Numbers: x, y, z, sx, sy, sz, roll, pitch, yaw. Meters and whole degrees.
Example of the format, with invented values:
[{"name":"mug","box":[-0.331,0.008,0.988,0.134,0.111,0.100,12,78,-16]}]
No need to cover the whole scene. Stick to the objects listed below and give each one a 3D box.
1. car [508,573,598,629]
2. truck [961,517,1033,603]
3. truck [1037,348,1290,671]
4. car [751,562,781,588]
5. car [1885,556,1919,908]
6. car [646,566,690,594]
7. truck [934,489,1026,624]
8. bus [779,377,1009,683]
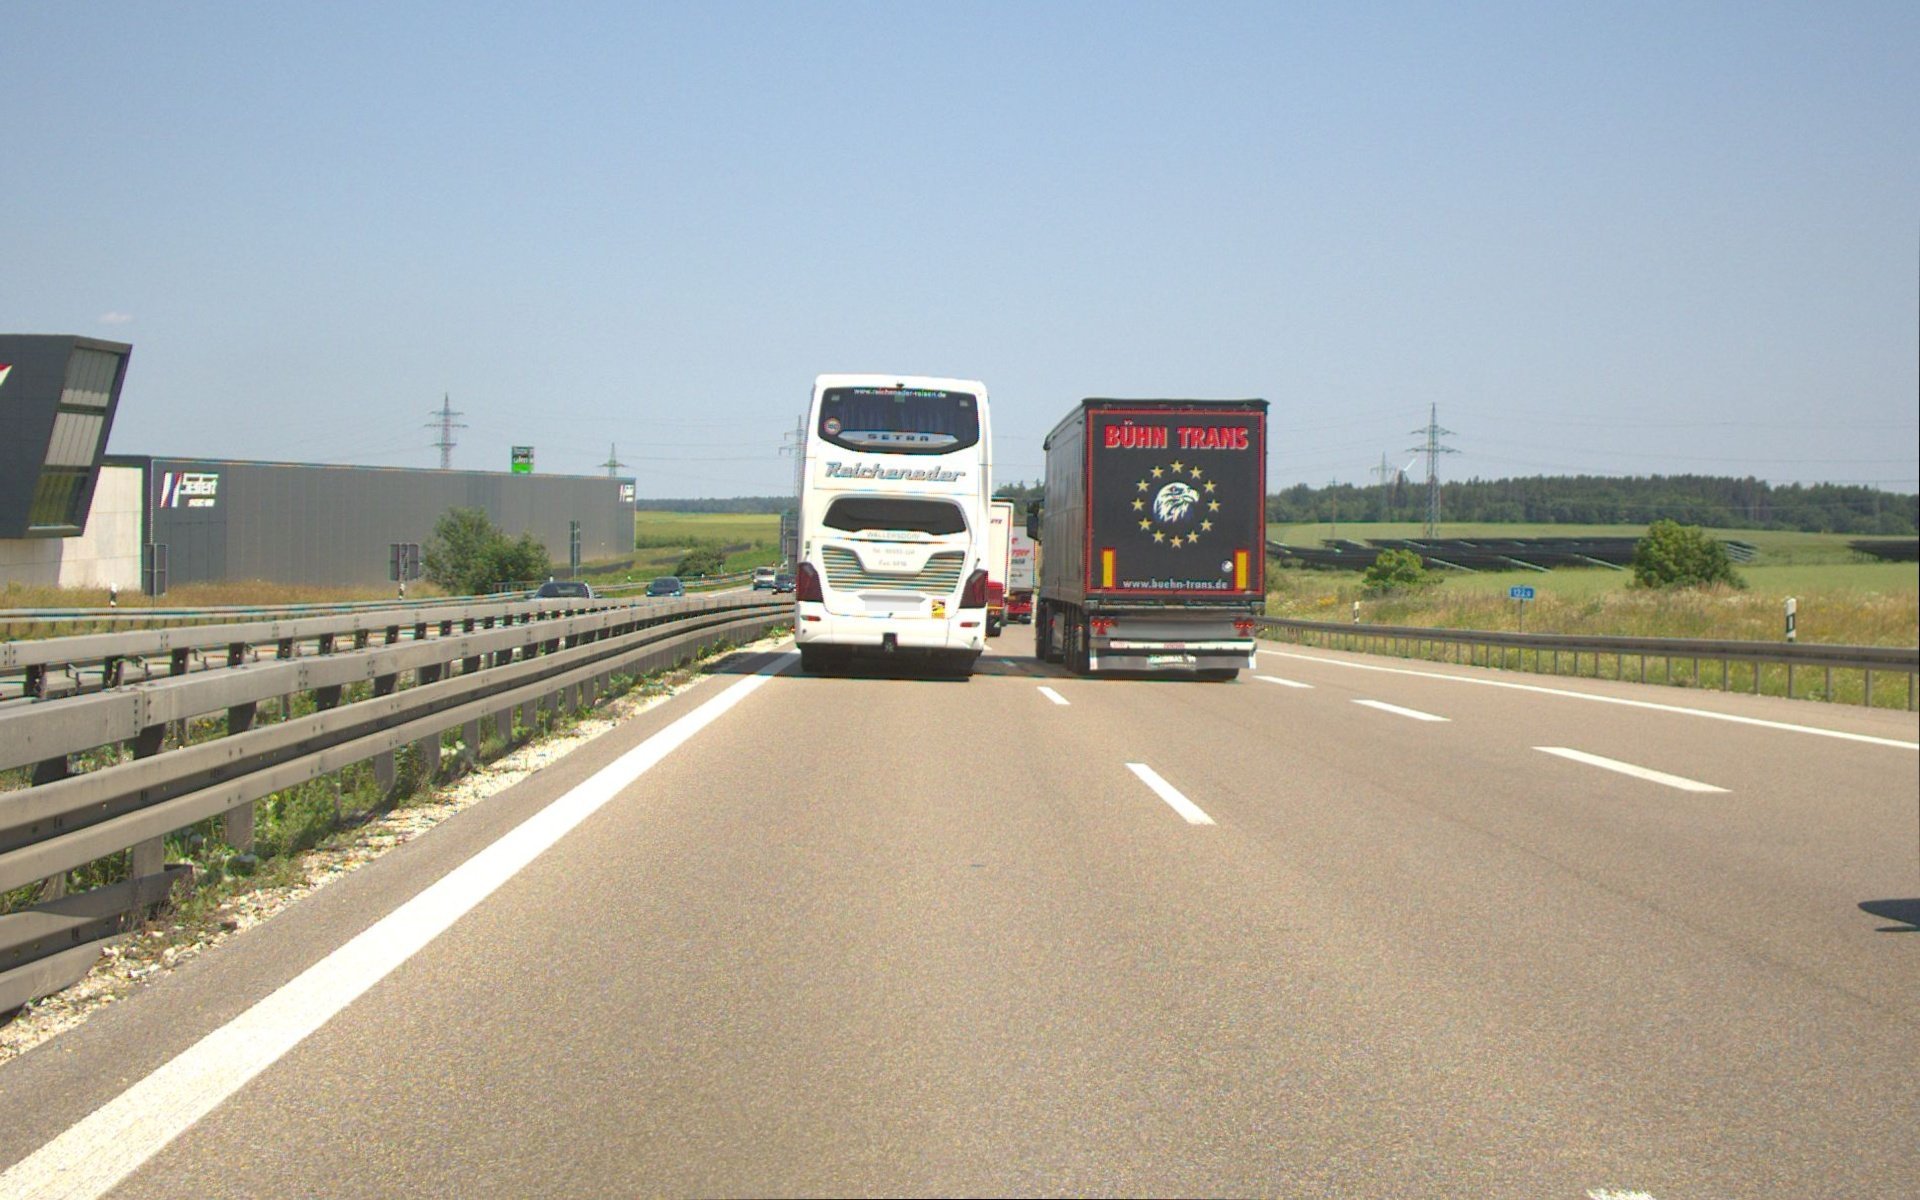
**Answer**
[{"name":"car","box":[-10.655,0.021,90.265,1.993,1.408,4.000,0,1,-2]},{"name":"truck","box":[1.456,-1.631,139.536,2.582,3.389,8.685,0,1,-2]},{"name":"truck","box":[2.968,-1.230,54.370,3.379,4.448,13.567,0,0,1]},{"name":"car","box":[-13.746,-1.792,243.769,1.993,1.831,4.000,0,1,-2]},{"name":"car","box":[5.241,0.606,13.275,1.890,1.524,4.263,0,1,-5]},{"name":"car","box":[-14.959,-1.041,176.357,1.993,1.415,4.000,0,1,-2]},{"name":"truck","box":[0.536,-1.273,99.448,2.437,3.776,6.494,0,1,-2]},{"name":"bus","box":[-1.045,-1.102,49.217,2.980,3.961,9.107,0,2,-2]}]
